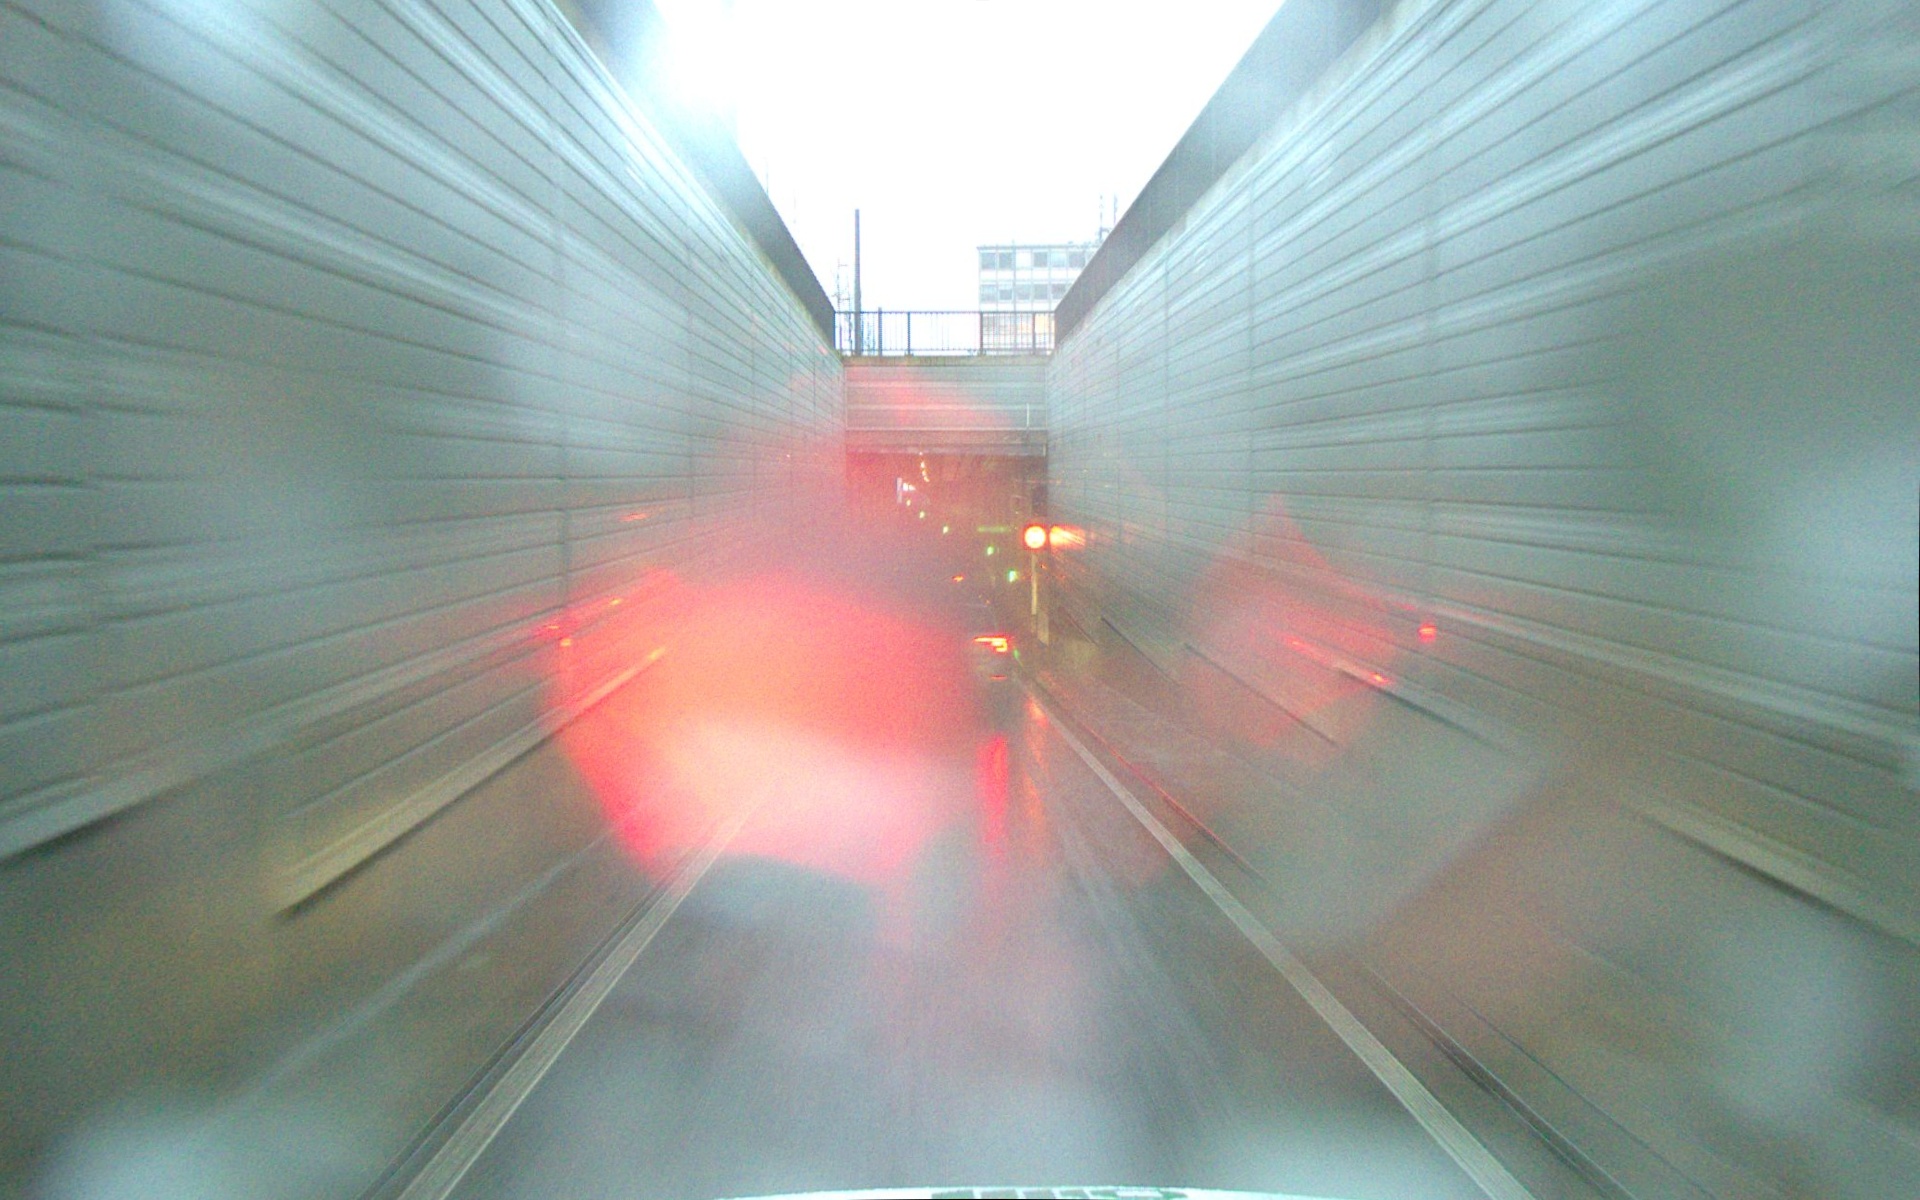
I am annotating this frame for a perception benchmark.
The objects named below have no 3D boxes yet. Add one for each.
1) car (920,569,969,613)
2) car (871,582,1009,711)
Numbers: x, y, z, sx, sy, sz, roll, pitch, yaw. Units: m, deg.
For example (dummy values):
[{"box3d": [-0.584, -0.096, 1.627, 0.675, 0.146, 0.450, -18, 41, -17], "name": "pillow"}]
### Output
[{"box3d": [-0.679, -0.388, 68.790, 1.881, 1.511, 4.000, 2, 4, -2], "name": "car"}, {"box3d": [-0.238, 0.566, 22.843, 1.687, 1.505, 4.001, 2, 1, 0], "name": "car"}]
